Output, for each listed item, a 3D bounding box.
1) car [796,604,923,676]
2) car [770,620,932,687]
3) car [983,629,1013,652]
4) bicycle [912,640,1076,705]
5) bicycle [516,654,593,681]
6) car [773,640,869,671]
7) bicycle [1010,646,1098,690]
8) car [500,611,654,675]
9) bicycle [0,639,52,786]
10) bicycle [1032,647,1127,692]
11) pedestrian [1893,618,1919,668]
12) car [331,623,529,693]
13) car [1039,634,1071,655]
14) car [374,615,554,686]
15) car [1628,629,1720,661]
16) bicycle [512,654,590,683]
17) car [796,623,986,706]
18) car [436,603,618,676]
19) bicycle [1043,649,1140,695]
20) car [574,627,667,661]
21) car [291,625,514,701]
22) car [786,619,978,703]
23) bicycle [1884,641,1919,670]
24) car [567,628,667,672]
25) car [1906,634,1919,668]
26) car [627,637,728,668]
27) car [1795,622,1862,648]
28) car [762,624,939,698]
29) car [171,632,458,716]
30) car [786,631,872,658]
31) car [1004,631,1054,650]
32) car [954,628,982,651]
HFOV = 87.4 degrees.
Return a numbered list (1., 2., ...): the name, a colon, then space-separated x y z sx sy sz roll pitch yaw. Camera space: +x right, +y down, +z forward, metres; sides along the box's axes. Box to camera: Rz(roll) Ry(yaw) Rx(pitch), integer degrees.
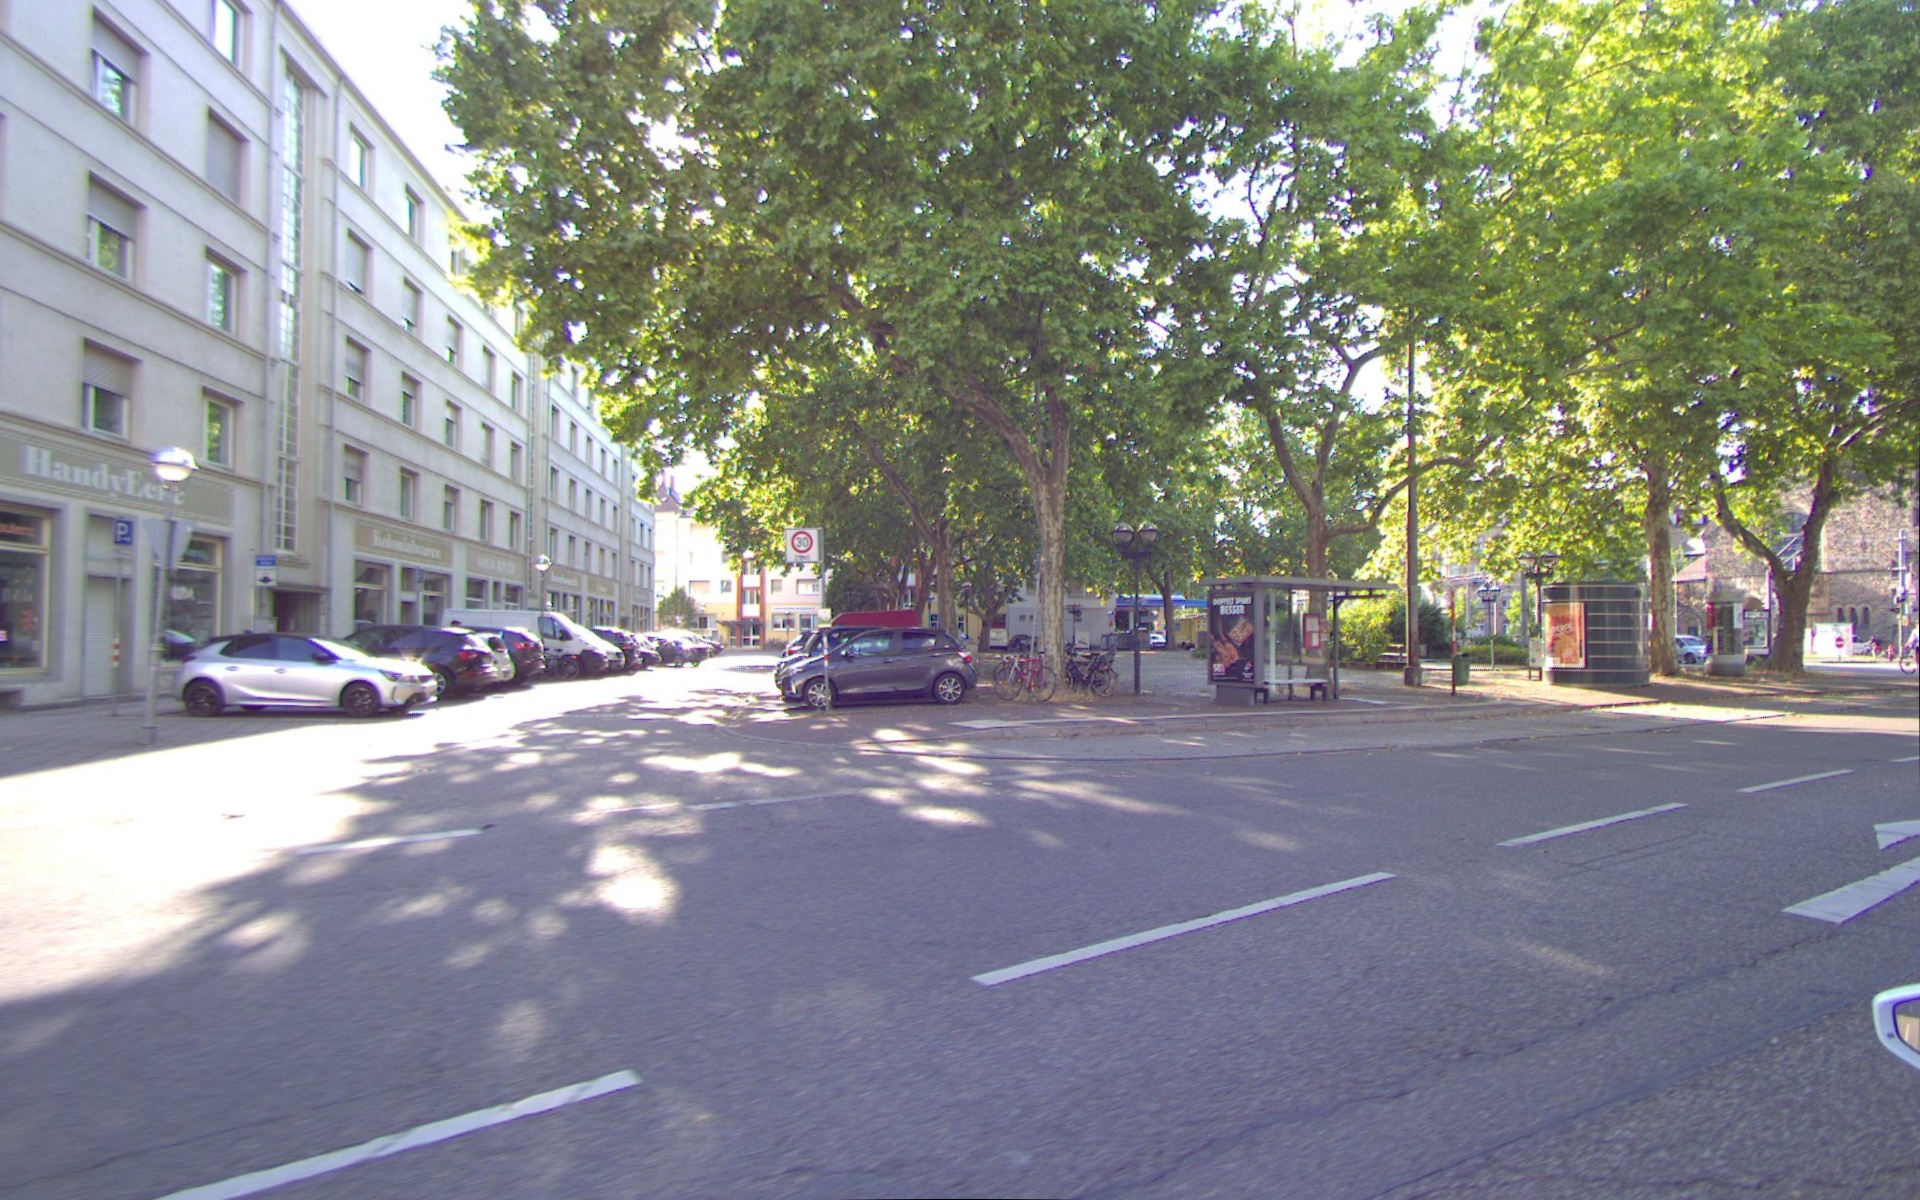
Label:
1. car: -4.455 1.806 44.570 5.461 2.947 1.654 2 -3 -8
2. car: -2.955 1.443 27.216 3.946 1.639 1.868 2 0 -25
3. car: 3.068 3.296 82.470 1.962 1.714 3.997 2 0 -5
4. bicycle: 0.699 1.398 19.455 3.252 1.161 0.715 2 0 -29
5. bicycle: -12.446 2.064 30.881 2.120 0.807 0.586 0 -2 -15
6. car: -7.030 2.805 50.637 4.705 1.378 1.652 2 -3 -11
7. bicycle: 2.394 1.719 25.539 2.171 1.005 0.552 2 0 10
8. car: -14.158 1.629 37.408 5.080 2.163 1.651 2 -3 -13
9. bicycle: -9.712 0.972 8.942 2.433 1.281 1.012 2 0 6
10. bicycle: 2.799 1.628 23.480 2.184 1.005 0.548 2 0 -22
11. pedestrian: 34.187 1.541 35.947 0.616 1.730 0.994 2 0 0
12. car: -12.989 1.446 24.866 3.966 1.567 1.651 2 -3 -13
13. car: 7.881 3.671 83.470 1.962 1.482 3.997 2 0 -5
14. car: -13.176 1.368 26.923 3.966 1.749 1.651 2 -3 -13
15. car: 39.272 2.465 55.345 1.820 1.576 3.993 2 0 -9
16. bicycle: -12.353 2.062 30.372 2.120 0.807 0.586 0 -2 -15
17. car: -1.407 1.228 19.753 3.584 1.537 1.752 0 -2 -10
18. car: -13.900 1.316 32.543 5.080 2.150 1.651 2 -3 -13
19. bicycle: 3.014 1.644 22.937 2.184 1.005 0.548 2 0 -22
20. car: -15.369 2.025 45.659 3.813 1.416 1.652 2 -3 -13
21. car: -12.397 1.414 22.549 3.960 1.531 1.654 2 -3 -7
22. car: -1.784 1.319 22.848 3.945 1.639 1.868 -1 0 -25
23. bicycle: 34.175 1.988 35.883 0.644 0.995 1.790 2 0 1
24. car: -14.665 2.152 43.138 3.813 1.742 1.652 2 -3 -13
25. car: 41.413 2.160 40.931 1.623 1.415 3.931 2 0 -11
26. car: -13.925 2.629 49.752 4.707 1.378 1.651 2 -3 -13
27. car: 68.905 2.768 79.702 3.926 1.862 1.865 2 0 -7
28. car: -2.698 1.496 24.774 3.946 1.639 1.868 2 0 -25
29. car: -11.507 1.326 18.151 3.960 1.353 1.654 2 -3 -7
30. car: -7.402 2.534 56.573 4.705 1.378 1.652 2 -3 -11
31. car: 6.088 3.576 88.773 3.939 1.482 1.991 2 0 -20
32. car: 0.634 3.215 82.559 1.962 1.714 3.997 2 0 -5
